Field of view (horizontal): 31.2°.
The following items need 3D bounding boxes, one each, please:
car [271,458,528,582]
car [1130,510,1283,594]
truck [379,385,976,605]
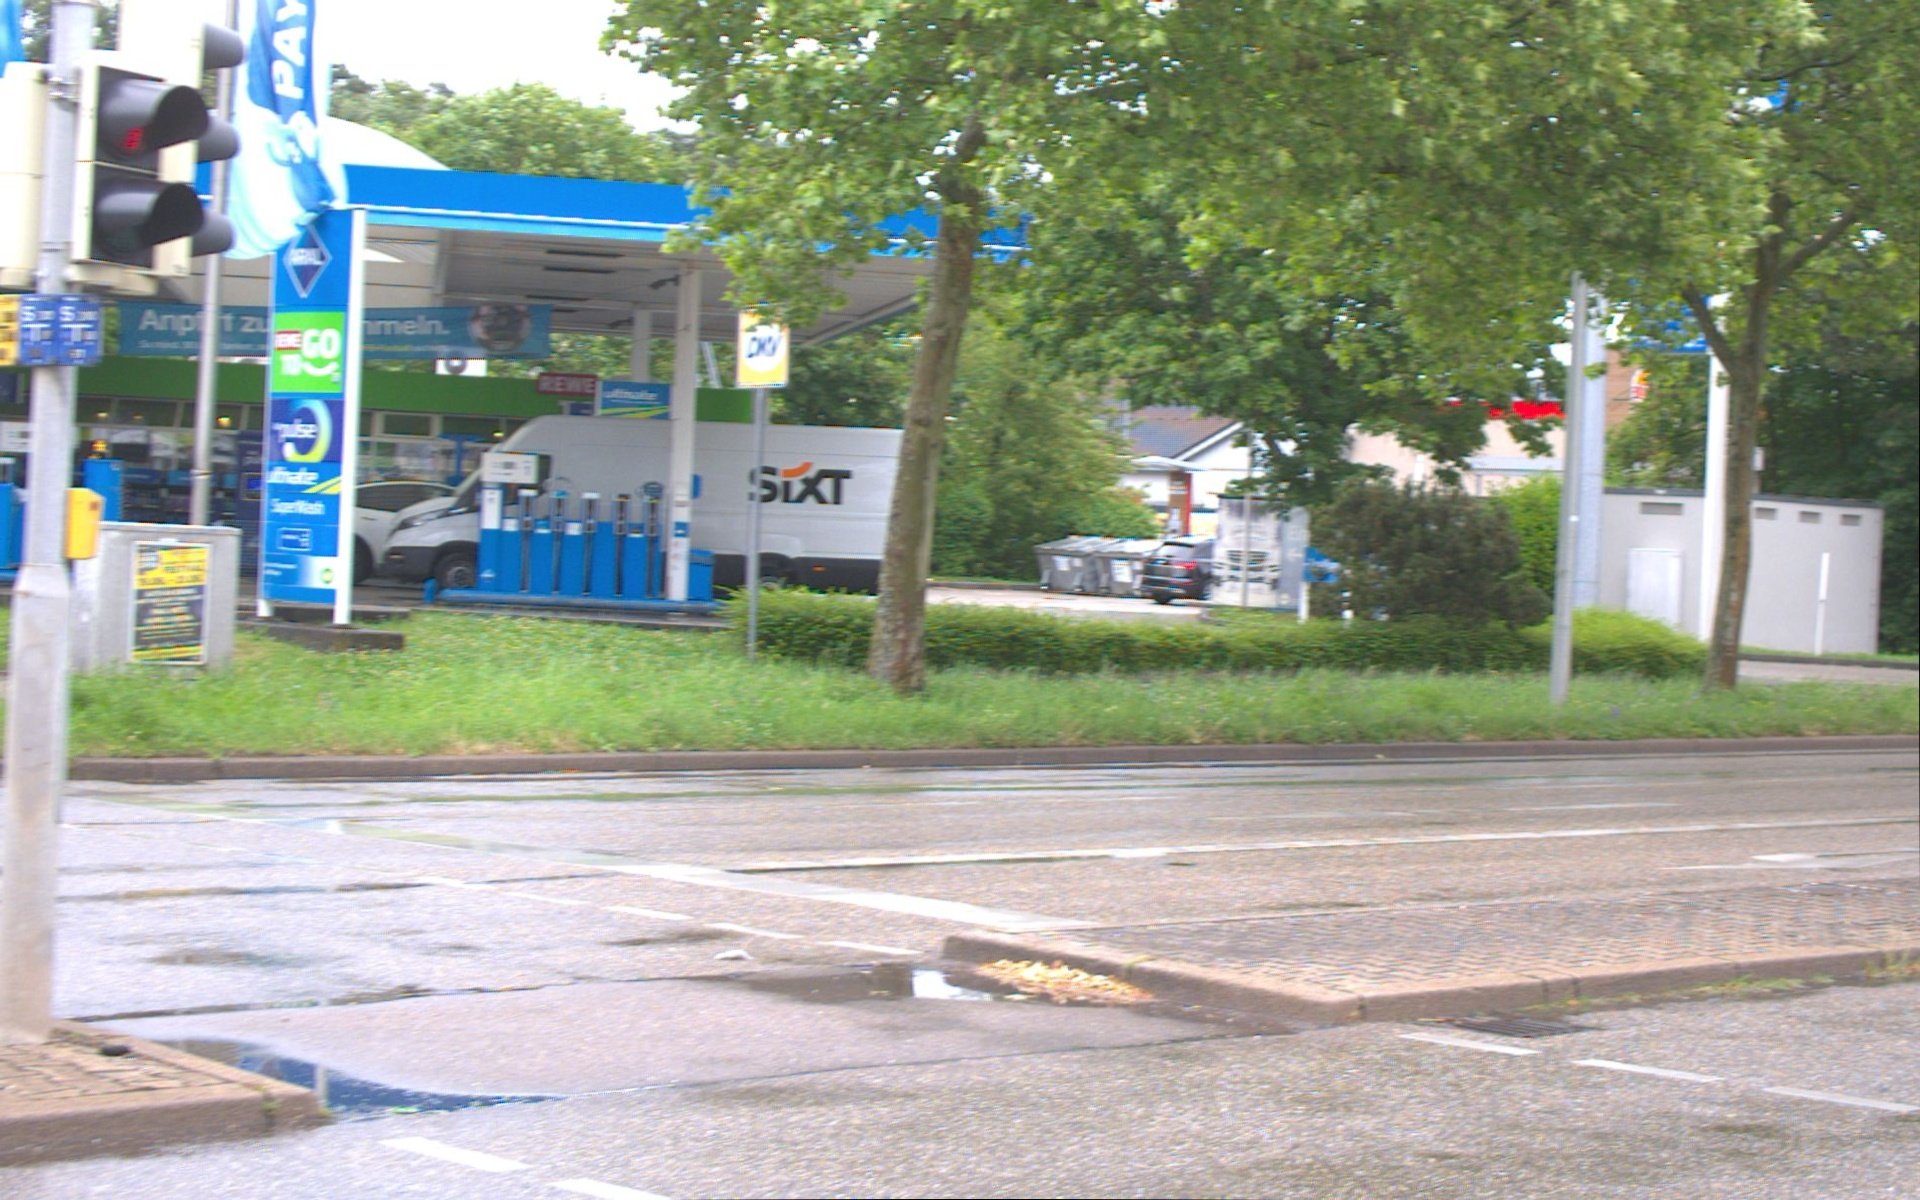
[{"bbox_3d":[-8.312,-1.183,51.175,3.550,1.576,1.690,4,0,-4],"label":"car"},{"bbox_3d":[5.837,-1.115,80.914,1.997,1.831,3.993,2,1,30],"label":"car"},{"bbox_3d":[-3.882,-1.393,46.849,7.845,2.666,2.156,2,1,-11],"label":"truck"}]
